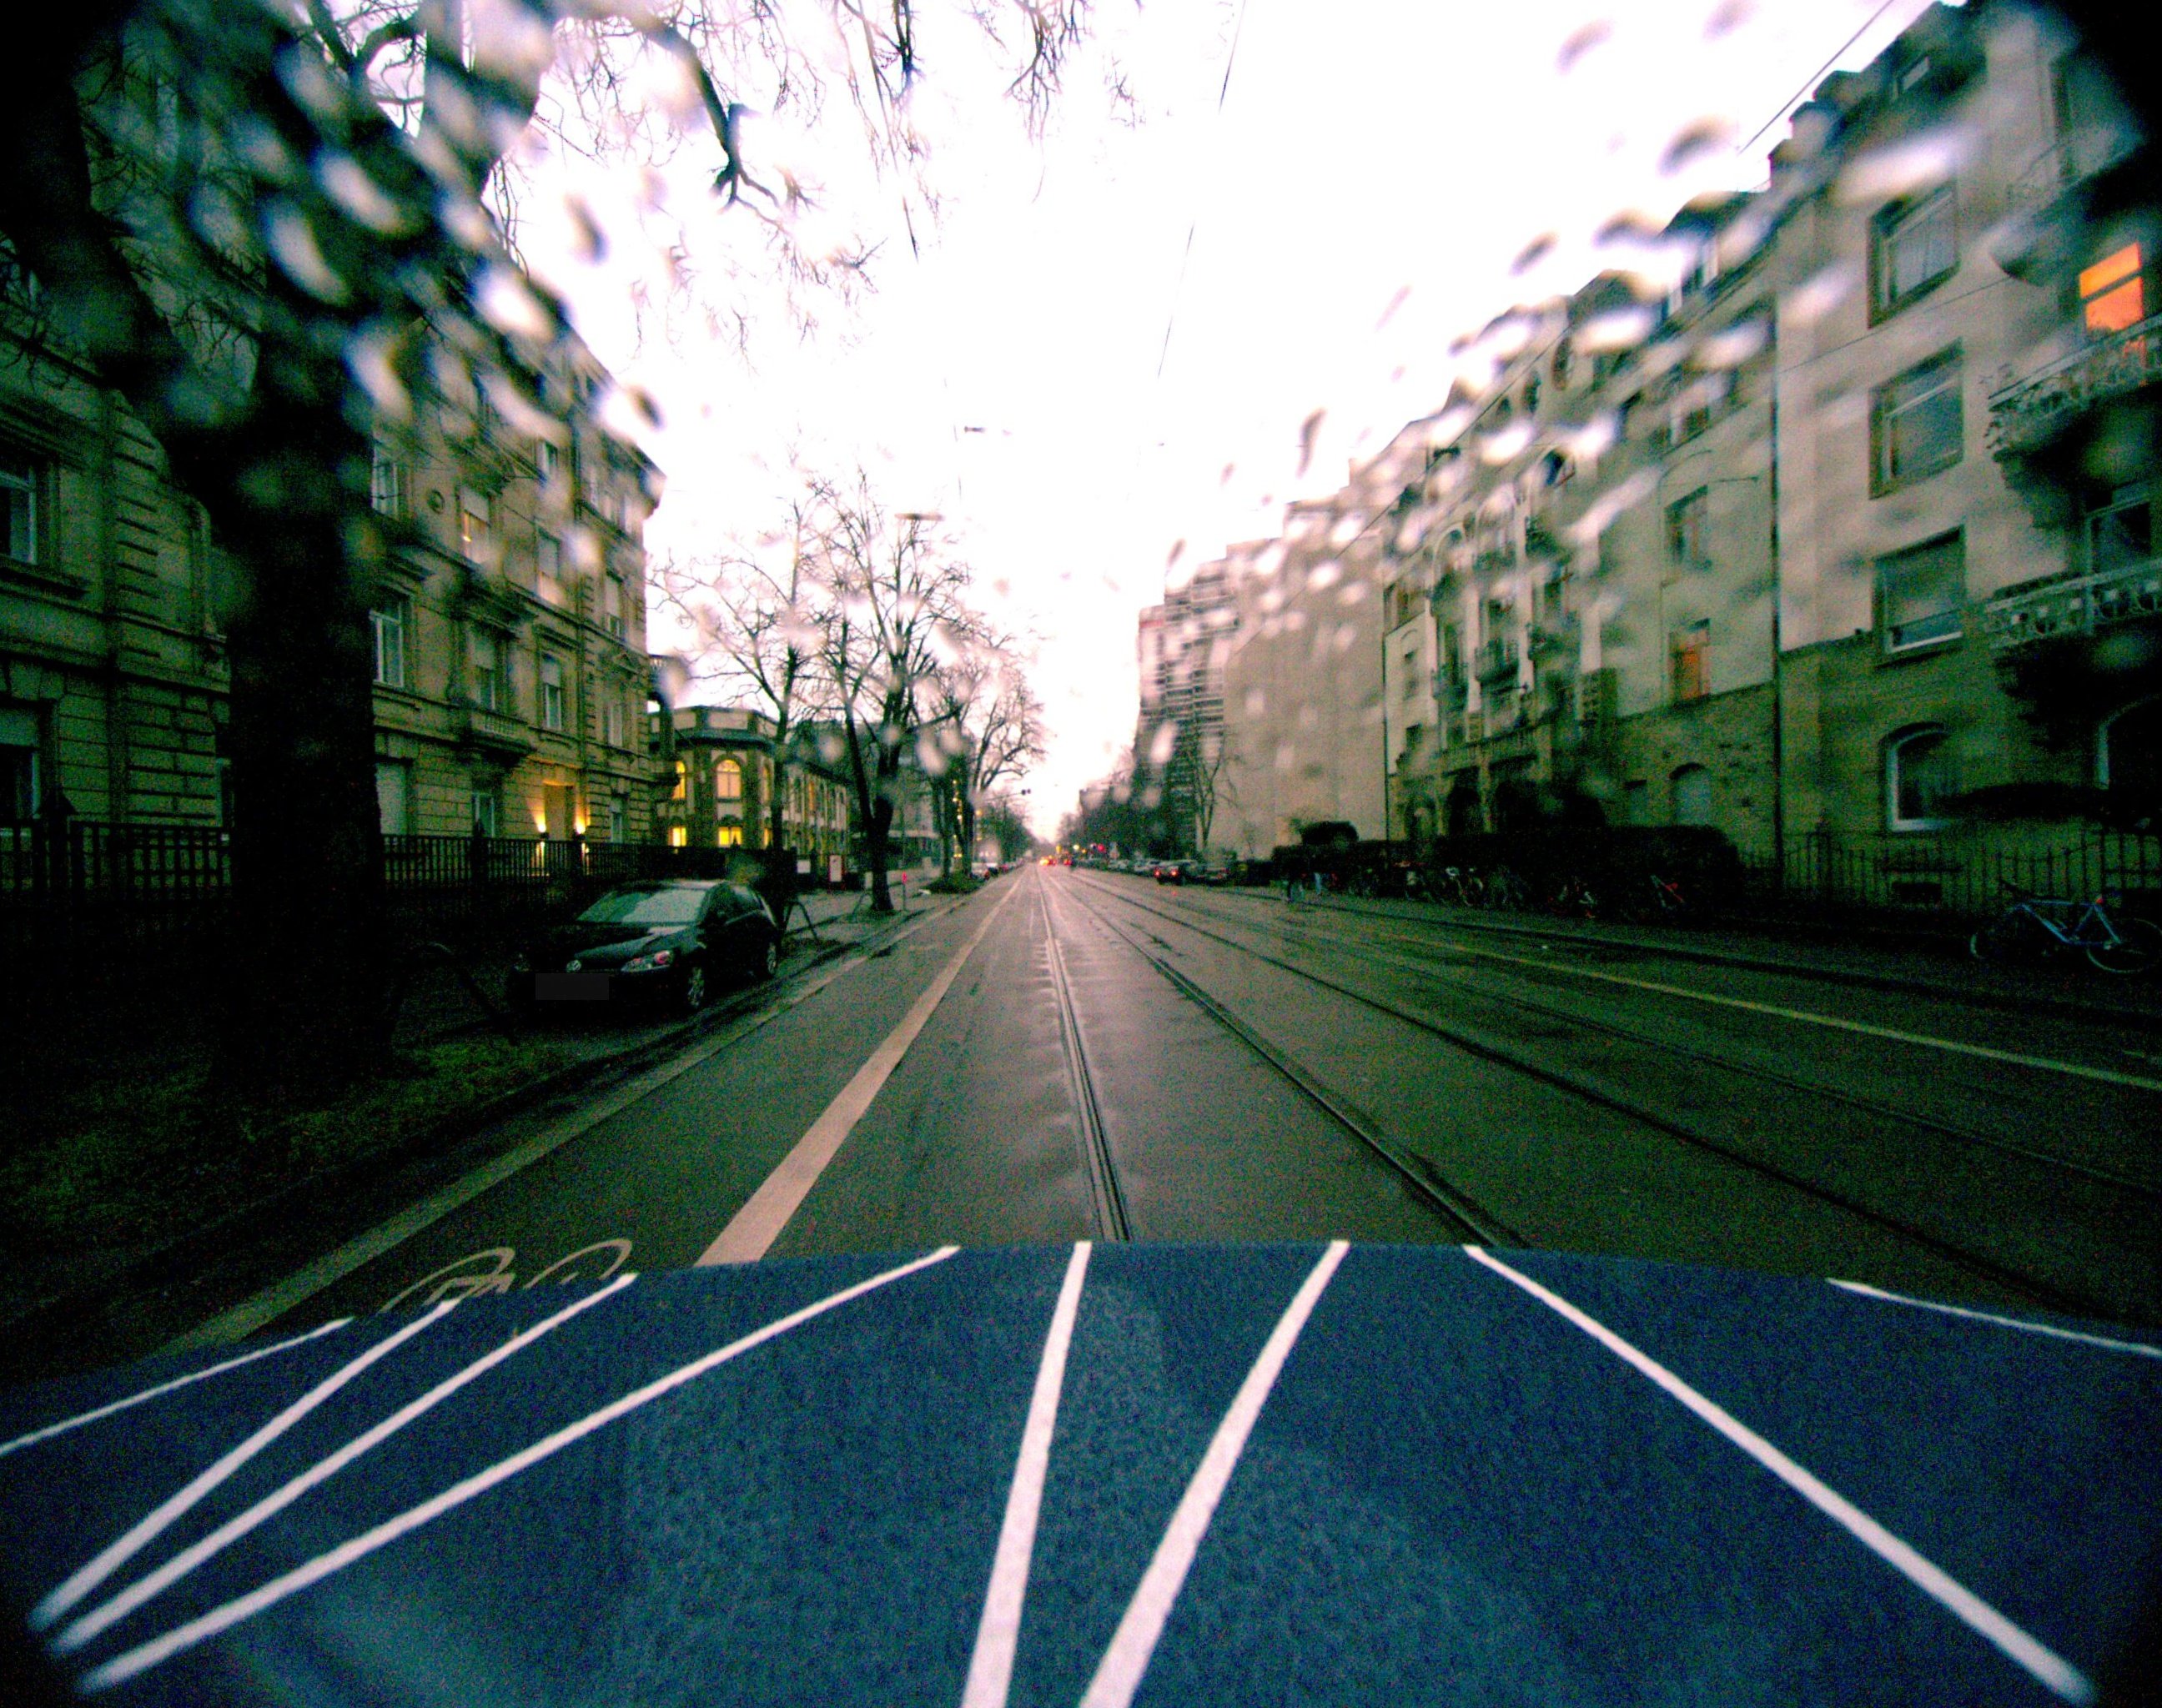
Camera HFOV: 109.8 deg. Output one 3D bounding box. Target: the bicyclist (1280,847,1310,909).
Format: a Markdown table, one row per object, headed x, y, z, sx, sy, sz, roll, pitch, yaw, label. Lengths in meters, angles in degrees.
| x | y | z | sx | sy | sz | roll | pitch | yaw | label |
| --- | --- | --- | --- | --- | --- | --- | --- | --- | --- |
| 6.696 | 0.740 | 23.841 | 0.625 | 1.865 | 0.991 | -1 | 0 | -1 | bicyclist |

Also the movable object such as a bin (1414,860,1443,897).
| x | y | z | sx | sy | sz | roll | pitch | yaw | label |
| --- | --- | --- | --- | --- | --- | --- | --- | --- | --- |
| 11.282 | 0.791 | 24.673 | 0.625 | 1.157 | 0.674 | -1 | 0 | -1 | movable object such as a bin |

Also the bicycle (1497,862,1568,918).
| x | y | z | sx | sy | sz | roll | pitch | yaw | label |
| --- | --- | --- | --- | --- | --- | --- | --- | --- | --- |
| 10.345 | 0.791 | 17.472 | 0.625 | 1.205 | 1.662 | -1 | 0 | -1 | bicycle |

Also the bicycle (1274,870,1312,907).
| x | y | z | sx | sy | sz | roll | pitch | yaw | label |
| --- | --- | --- | --- | --- | --- | --- | --- | --- | --- |
| 6.702 | 1.078 | 24.143 | 0.625 | 1.086 | 1.947 | -1 | 0 | -1 | bicycle |

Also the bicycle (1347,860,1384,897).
| x | y | z | sx | sy | sz | roll | pitch | yaw | label |
| --- | --- | --- | --- | --- | --- | --- | --- | --- | --- |
| 9.792 | 0.821 | 26.207 | 0.625 | 1.205 | 1.662 | -1 | 0 | -1 | bicycle |

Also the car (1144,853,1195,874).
| x | y | z | sx | sy | sz | roll | pitch | yaw | label |
| --- | --- | --- | --- | --- | --- | --- | --- | --- | --- |
| 7.372 | 0.773 | 63.169 | 4.008 | 1.586 | 1.864 | -2 | 0 | -40 | car |

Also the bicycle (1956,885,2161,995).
| x | y | z | sx | sy | sz | roll | pitch | yaw | label |
| --- | --- | --- | --- | --- | --- | --- | --- | --- | --- |
| 10.744 | 0.867 | 8.221 | 0.625 | 0.997 | 1.662 | -1 | 0 | -1 | bicycle |

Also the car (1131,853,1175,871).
| x | y | z | sx | sy | sz | roll | pitch | yaw | label |
| --- | --- | --- | --- | --- | --- | --- | --- | --- | --- |
| 6.933 | 0.762 | 72.665 | 4.008 | 1.586 | 1.864 | -2 | 0 | -40 | car |

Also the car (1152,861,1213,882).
| x | y | z | sx | sy | sz | roll | pitch | yaw | label |
| --- | --- | --- | --- | --- | --- | --- | --- | --- | --- |
| 6.316 | 1.046 | 46.996 | 3.673 | 1.245 | 1.707 | 0 | 0 | -41 | car |

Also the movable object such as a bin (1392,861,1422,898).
| x | y | z | sx | sy | sz | roll | pitch | yaw | label |
| --- | --- | --- | --- | --- | --- | --- | --- | --- | --- |
| 10.556 | 0.825 | 24.644 | 0.659 | 1.157 | 0.674 | -1 | 0 | -1 | movable object such as a bin |

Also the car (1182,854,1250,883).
| x | y | z | sx | sy | sz | roll | pitch | yaw | label |
| --- | --- | --- | --- | --- | --- | --- | --- | --- | --- |
| 8.179 | 0.846 | 45.983 | 4.008 | 1.586 | 1.864 | -2 | 0 | -40 | car |

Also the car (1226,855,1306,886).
| x | y | z | sx | sy | sz | roll | pitch | yaw | label |
| --- | --- | --- | --- | --- | --- | --- | --- | --- | --- |
| 9.901 | 0.848 | 40.587 | 4.006 | 1.485 | 1.864 | -2 | 0 | -32 | car |

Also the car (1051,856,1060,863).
| x | y | z | sx | sy | sz | roll | pitch | yaw | label |
| --- | --- | --- | --- | --- | --- | --- | --- | --- | --- |
| -6.911 | 1.481 | 206.879 | 2.239 | 2.002 | 4.458 | -2 | 1 | -5 | car |

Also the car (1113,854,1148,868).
| x | y | z | sx | sy | sz | roll | pitch | yaw | label |
| --- | --- | --- | --- | --- | --- | --- | --- | --- | --- |
| 5.922 | 0.794 | 91.341 | 4.008 | 1.586 | 1.864 | -2 | 0 | -40 | car |

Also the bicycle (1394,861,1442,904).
| x | y | z | sx | sy | sz | roll | pitch | yaw | label |
| --- | --- | --- | --- | --- | --- | --- | --- | --- | --- |
| 9.905 | 0.812 | 22.378 | 0.625 | 1.205 | 1.662 | -1 | 0 | -1 | bicycle |

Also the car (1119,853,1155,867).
| x | y | z | sx | sy | sz | roll | pitch | yaw | label |
| --- | --- | --- | --- | --- | --- | --- | --- | --- | --- |
| 6.587 | 0.707 | 89.344 | 4.008 | 1.586 | 1.864 | -2 | 0 | -40 | car |

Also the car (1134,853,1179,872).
| x | y | z | sx | sy | sz | roll | pitch | yaw | label |
| --- | --- | --- | --- | --- | --- | --- | --- | --- | --- |
| 6.929 | 0.784 | 69.615 | 4.008 | 1.586 | 1.864 | -2 | 0 | -40 | car |

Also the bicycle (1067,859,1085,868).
| x | y | z | sx | sy | sz | roll | pitch | yaw | label |
| --- | --- | --- | --- | --- | --- | --- | --- | --- | --- |
| -0.589 | 1.059 | 88.952 | 1.921 | 0.986 | 0.856 | -2 | 1 | -27 | bicycle |

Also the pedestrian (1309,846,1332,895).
| x | y | z | sx | sy | sz | roll | pitch | yaw | label |
| --- | --- | --- | --- | --- | --- | --- | --- | --- | --- |
| 8.695 | 0.597 | 27.622 | 0.574 | 1.715 | 0.644 | -3 | 2 | 1 | pedestrian |

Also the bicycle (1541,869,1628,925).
| x | y | z | sx | sy | sz | roll | pitch | yaw | label |
| --- | --- | --- | --- | --- | --- | --- | --- | --- | --- |
| 10.396 | 0.856 | 15.748 | 0.625 | 1.059 | 1.726 | -1 | 0 | -1 | bicycle |

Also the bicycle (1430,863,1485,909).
| x | y | z | sx | sy | sz | roll | pitch | yaw | label |
| --- | --- | --- | --- | --- | --- | --- | --- | --- | --- |
| 9.979 | 0.820 | 20.200 | 0.625 | 1.157 | 1.662 | -1 | 0 | -1 | bicycle |

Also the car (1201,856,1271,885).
| x | y | z | sx | sy | sz | roll | pitch | yaw | label |
| --- | --- | --- | --- | --- | --- | --- | --- | --- | --- |
| 8.830 | 0.888 | 43.059 | 4.008 | 1.477 | 1.760 | -2 | 0 | -40 | car |

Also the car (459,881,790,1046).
| x | y | z | sx | sy | sz | roll | pitch | yaw | label |
| --- | --- | --- | --- | --- | --- | --- | --- | --- | --- |
| -5.101 | 1.114 | 9.266 | 1.763 | 1.437 | 4.156 | 1 | -1 | -4 | car |

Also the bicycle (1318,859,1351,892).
| x | y | z | sx | sy | sz | roll | pitch | yaw | label |
| --- | --- | --- | --- | --- | --- | --- | --- | --- | --- |
| 9.510 | 0.794 | 28.552 | 0.625 | 1.205 | 1.662 | -1 | 0 | -1 | bicycle |

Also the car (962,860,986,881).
| x | y | z | sx | sy | sz | roll | pitch | yaw | label |
| --- | --- | --- | --- | --- | --- | --- | --- | --- | --- |
| -7.979 | 1.212 | 57.009 | 1.628 | 1.399 | 3.997 | -2 | 1 | -6 | car |

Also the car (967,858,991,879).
| x | y | z | sx | sy | sz | roll | pitch | yaw | label |
| --- | --- | --- | --- | --- | --- | --- | --- | --- | --- |
| -8.984 | 1.234 | 67.066 | 2.000 | 1.672 | 3.997 | -2 | 1 | -6 | car |

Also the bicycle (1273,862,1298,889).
| x | y | z | sx | sy | sz | roll | pitch | yaw | label |
| --- | --- | --- | --- | --- | --- | --- | --- | --- | --- |
| 9.074 | 0.931 | 33.777 | 0.625 | 1.157 | 1.662 | -2 | 0 | -1 | bicycle |

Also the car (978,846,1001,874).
| x | y | z | sx | sy | sz | roll | pitch | yaw | label |
| --- | --- | --- | --- | --- | --- | --- | --- | --- | --- |
| -9.240 | 0.556 | 77.044 | 2.094 | 2.622 | 5.446 | -2 | 1 | -6 | car |

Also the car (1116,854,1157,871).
| x | y | z | sx | sy | sz | roll | pitch | yaw | label |
| --- | --- | --- | --- | --- | --- | --- | --- | --- | --- |
| 5.740 | 0.892 | 77.919 | 4.008 | 1.586 | 1.864 | -2 | 0 | -40 | car |

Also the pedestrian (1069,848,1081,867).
| x | y | z | sx | sy | sz | roll | pitch | yaw | label |
| --- | --- | --- | --- | --- | --- | --- | --- | --- | --- |
| -0.695 | 0.418 | 88.896 | 1.120 | 2.246 | 0.951 | -2 | 1 | -24 | pedestrian |

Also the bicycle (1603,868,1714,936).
| x | y | z | sx | sy | sz | roll | pitch | yaw | label |
| --- | --- | --- | --- | --- | --- | --- | --- | --- | --- |
| 10.411 | 0.829 | 13.790 | 0.625 | 1.119 | 1.783 | -1 | 0 | -1 | bicycle |

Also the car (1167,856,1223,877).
| x | y | z | sx | sy | sz | roll | pitch | yaw | label |
| --- | --- | --- | --- | --- | --- | --- | --- | --- | --- |
| 8.540 | 0.946 | 56.786 | 4.008 | 1.440 | 1.864 | -2 | 0 | -40 | car |
